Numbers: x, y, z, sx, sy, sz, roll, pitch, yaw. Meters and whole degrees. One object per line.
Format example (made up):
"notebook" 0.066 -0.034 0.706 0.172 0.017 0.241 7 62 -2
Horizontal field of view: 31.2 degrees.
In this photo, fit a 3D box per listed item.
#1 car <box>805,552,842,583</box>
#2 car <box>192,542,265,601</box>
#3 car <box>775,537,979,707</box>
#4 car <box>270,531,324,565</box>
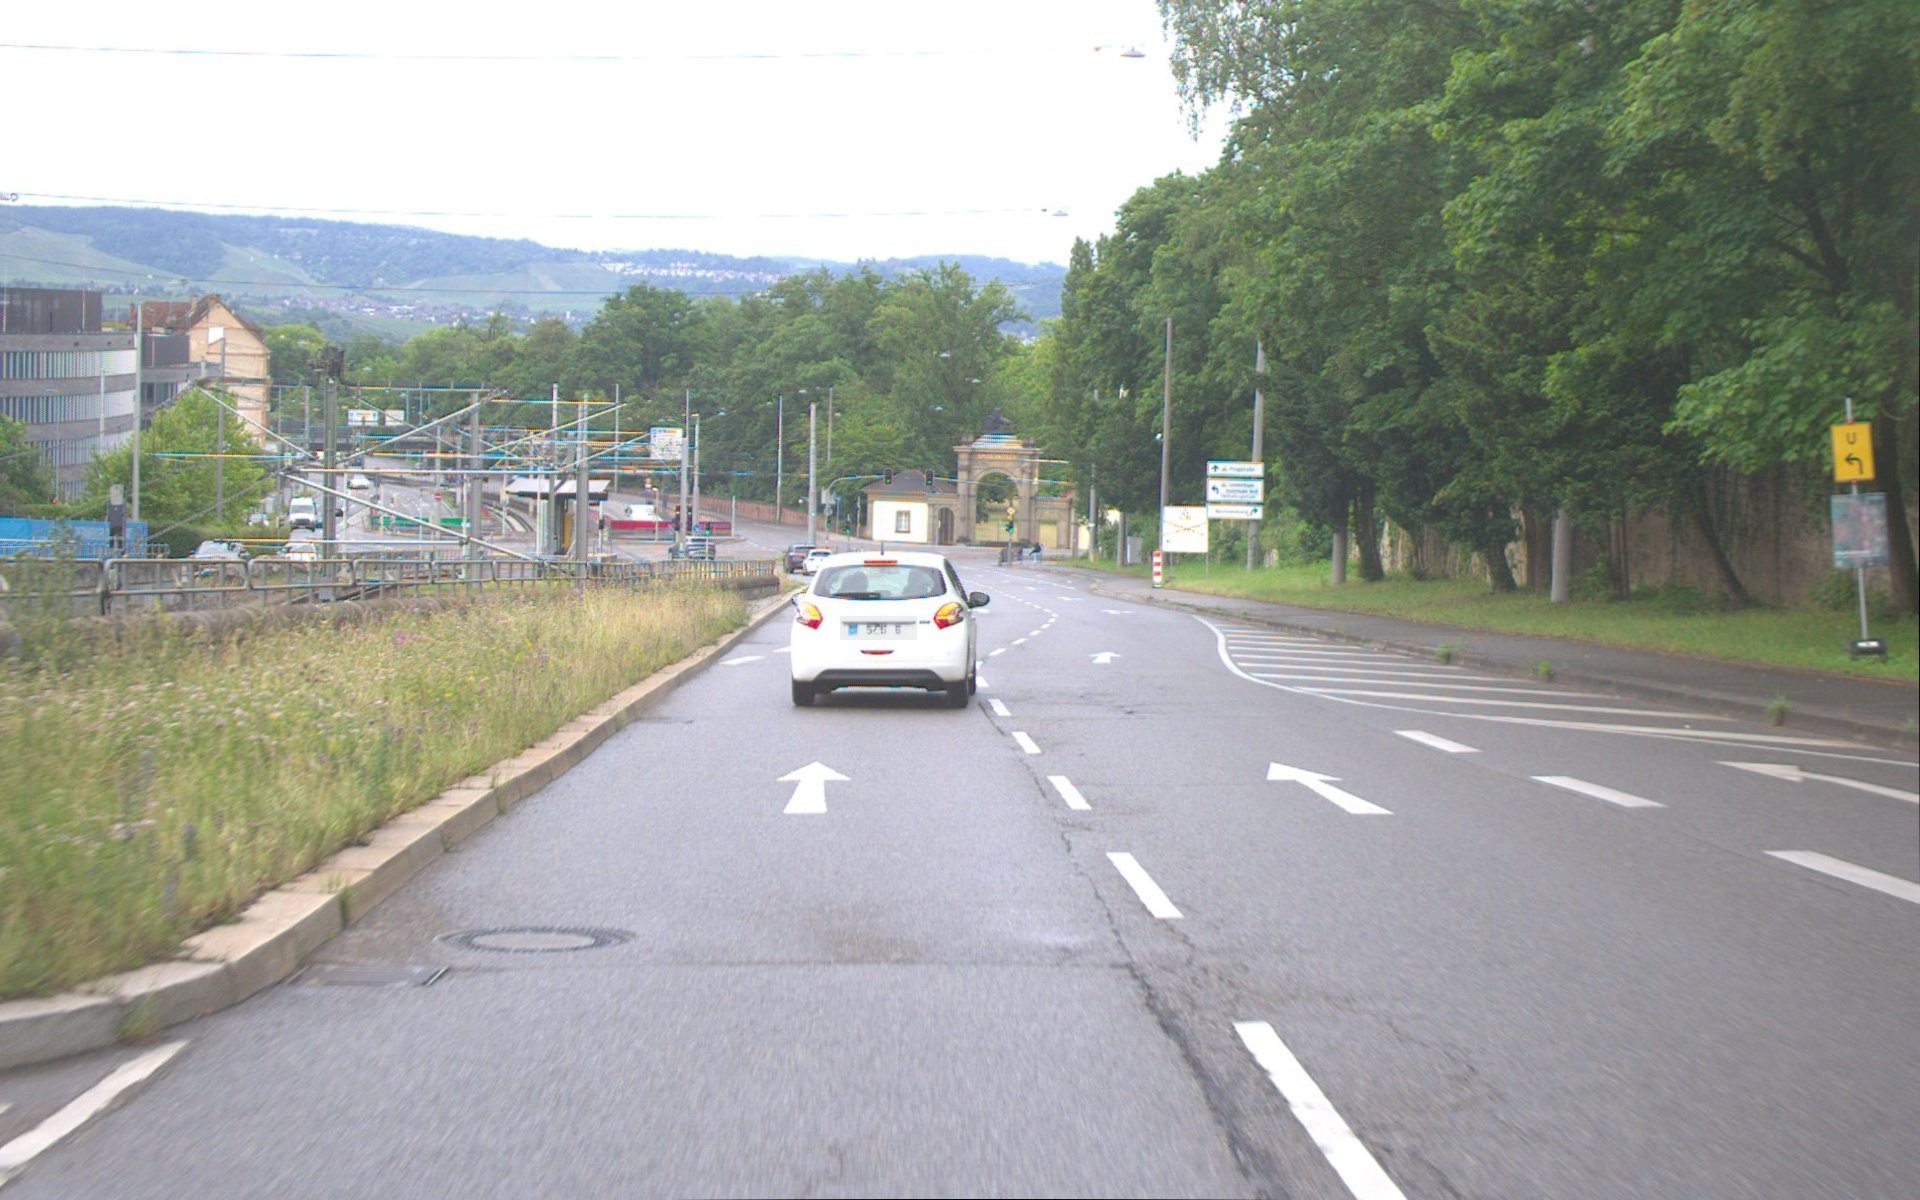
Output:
"car" -7.470 -1.795 188.401 1.822 1.600 4.000 -1 1 0
"car" -26.551 -1.053 124.907 1.890 1.964 4.036 4 1 -4
"car" -0.787 0.170 33.675 1.868 1.505 3.900 0 2 -1
"car" -27.410 -2.144 142.232 1.555 1.287 3.559 2 2 0
